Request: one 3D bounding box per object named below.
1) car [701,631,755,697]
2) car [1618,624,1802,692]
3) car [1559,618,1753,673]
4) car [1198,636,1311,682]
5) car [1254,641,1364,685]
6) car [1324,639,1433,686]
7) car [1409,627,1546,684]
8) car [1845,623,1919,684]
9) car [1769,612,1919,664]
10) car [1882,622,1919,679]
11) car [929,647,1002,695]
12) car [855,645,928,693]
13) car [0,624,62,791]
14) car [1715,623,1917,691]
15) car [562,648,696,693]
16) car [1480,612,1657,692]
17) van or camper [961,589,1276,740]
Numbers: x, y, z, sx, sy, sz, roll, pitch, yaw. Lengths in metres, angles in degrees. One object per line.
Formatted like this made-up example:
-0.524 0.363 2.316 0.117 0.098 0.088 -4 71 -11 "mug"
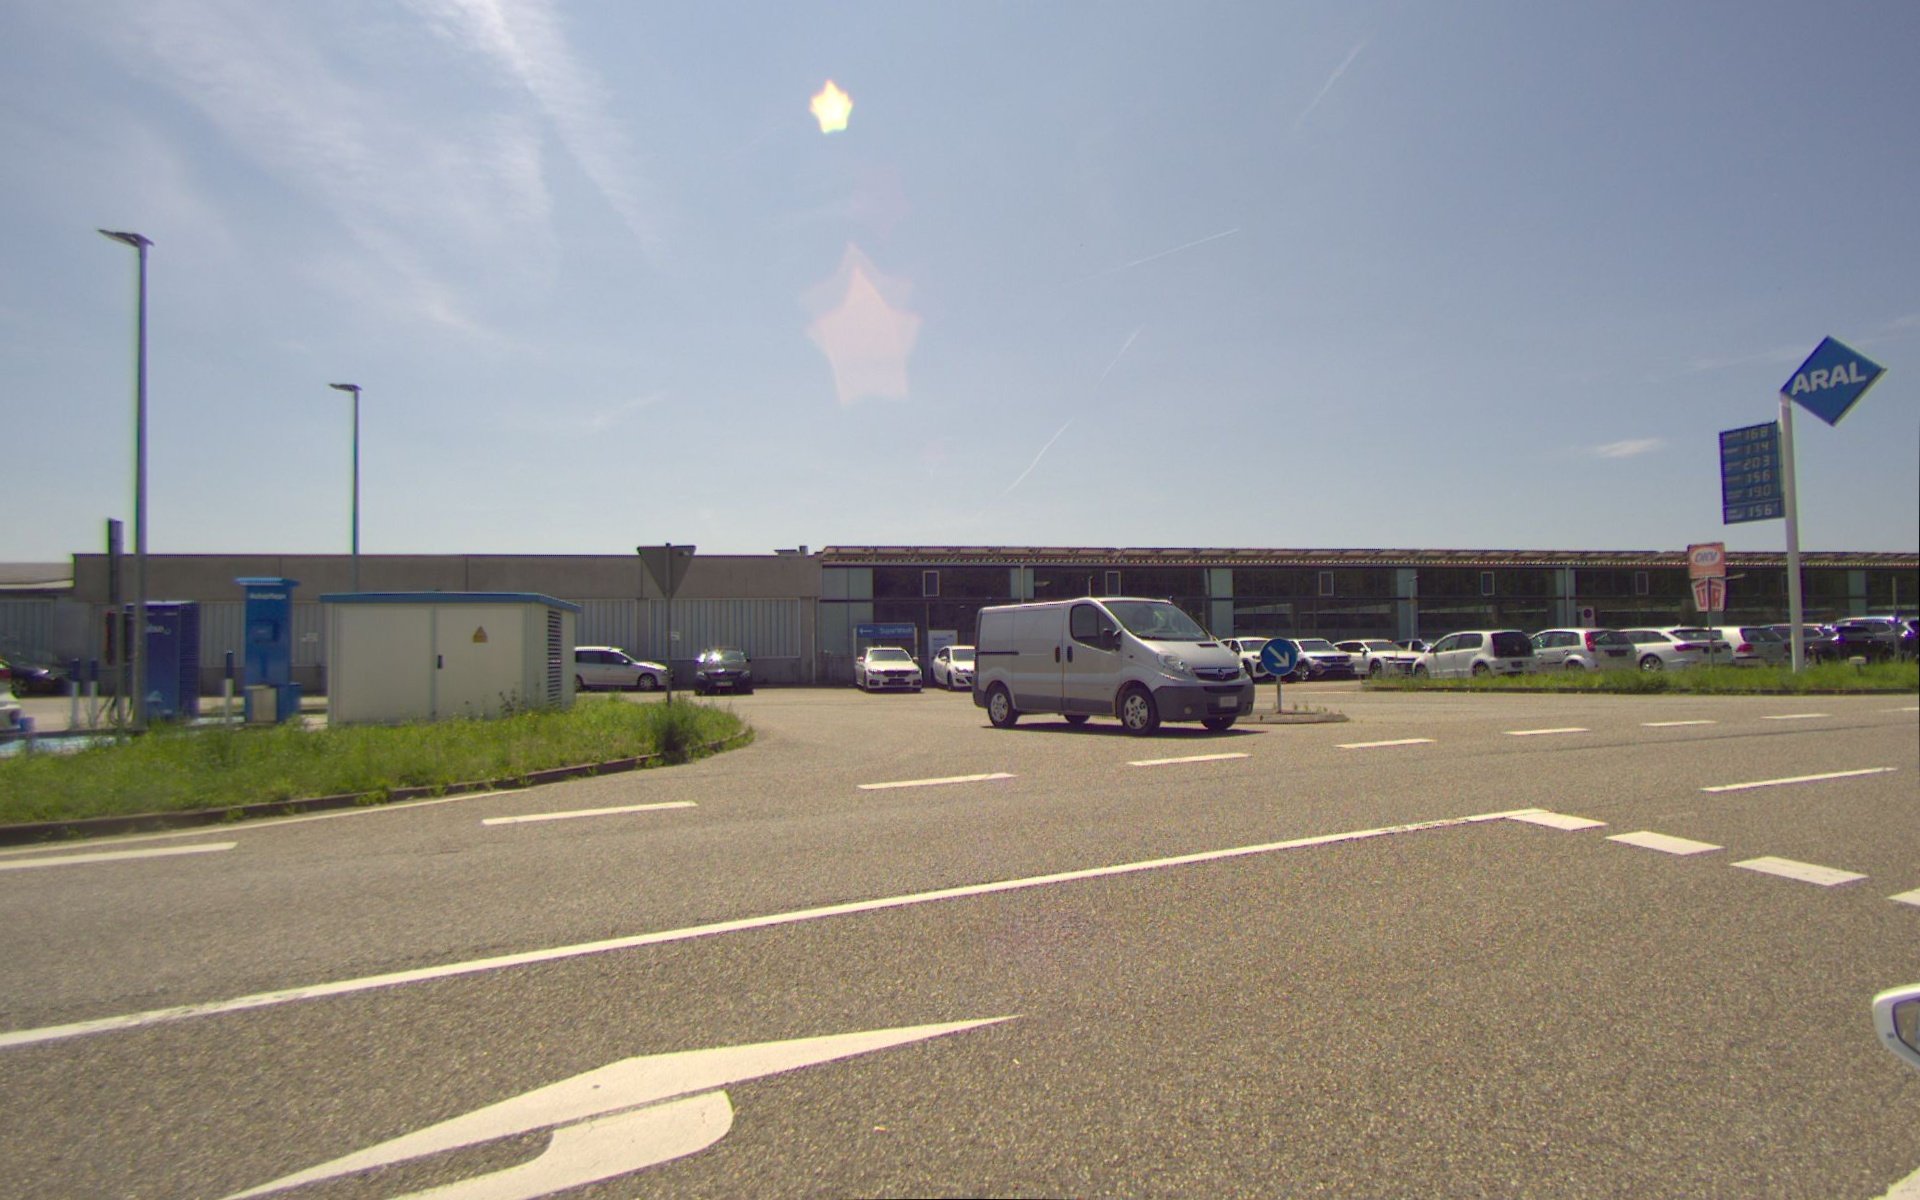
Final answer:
-7.623 2.084 33.275 1.570 2.040 3.993 0 -3 -11 "car"
21.259 1.631 28.696 1.900 1.772 3.994 0 -3 -10 "car"
19.124 1.256 27.865 1.965 1.377 4.242 0 -3 -12 "car"
10.535 2.094 36.365 1.965 1.523 4.585 0 -3 -12 "car"
12.735 2.279 36.978 1.965 1.523 4.129 0 -3 -12 "car"
15.226 2.273 36.773 1.786 1.603 3.993 1 -3 -11 "car"
14.304 1.525 27.979 1.536 1.460 3.447 0 -3 -12 "car"
29.024 1.549 29.607 1.964 1.772 3.995 -1 -4 -10 "car"
26.139 1.131 28.995 1.964 1.349 3.995 -1 -4 -10 "car"
31.237 1.510 30.769 1.964 1.772 3.995 -1 -4 -10 "car"
0.123 2.391 34.477 1.811 1.516 3.862 0 -3 -11 "car"
-2.371 2.292 33.773 1.965 1.460 3.993 0 -3 -11 "car"
-12.158 1.076 10.023 4.434 1.734 1.868 1 -3 -6 "car"
23.964 1.585 28.339 1.964 1.772 3.994 0 -3 -10 "car"
-11.206 2.375 34.238 4.027 1.447 1.917 0 -2 -8 "car"
16.711 1.424 27.846 1.965 2.040 3.992 0 -3 -12 "car"
2.200 0.996 15.343 1.886 1.929 4.816 1 -4 -36 "van or camper"
